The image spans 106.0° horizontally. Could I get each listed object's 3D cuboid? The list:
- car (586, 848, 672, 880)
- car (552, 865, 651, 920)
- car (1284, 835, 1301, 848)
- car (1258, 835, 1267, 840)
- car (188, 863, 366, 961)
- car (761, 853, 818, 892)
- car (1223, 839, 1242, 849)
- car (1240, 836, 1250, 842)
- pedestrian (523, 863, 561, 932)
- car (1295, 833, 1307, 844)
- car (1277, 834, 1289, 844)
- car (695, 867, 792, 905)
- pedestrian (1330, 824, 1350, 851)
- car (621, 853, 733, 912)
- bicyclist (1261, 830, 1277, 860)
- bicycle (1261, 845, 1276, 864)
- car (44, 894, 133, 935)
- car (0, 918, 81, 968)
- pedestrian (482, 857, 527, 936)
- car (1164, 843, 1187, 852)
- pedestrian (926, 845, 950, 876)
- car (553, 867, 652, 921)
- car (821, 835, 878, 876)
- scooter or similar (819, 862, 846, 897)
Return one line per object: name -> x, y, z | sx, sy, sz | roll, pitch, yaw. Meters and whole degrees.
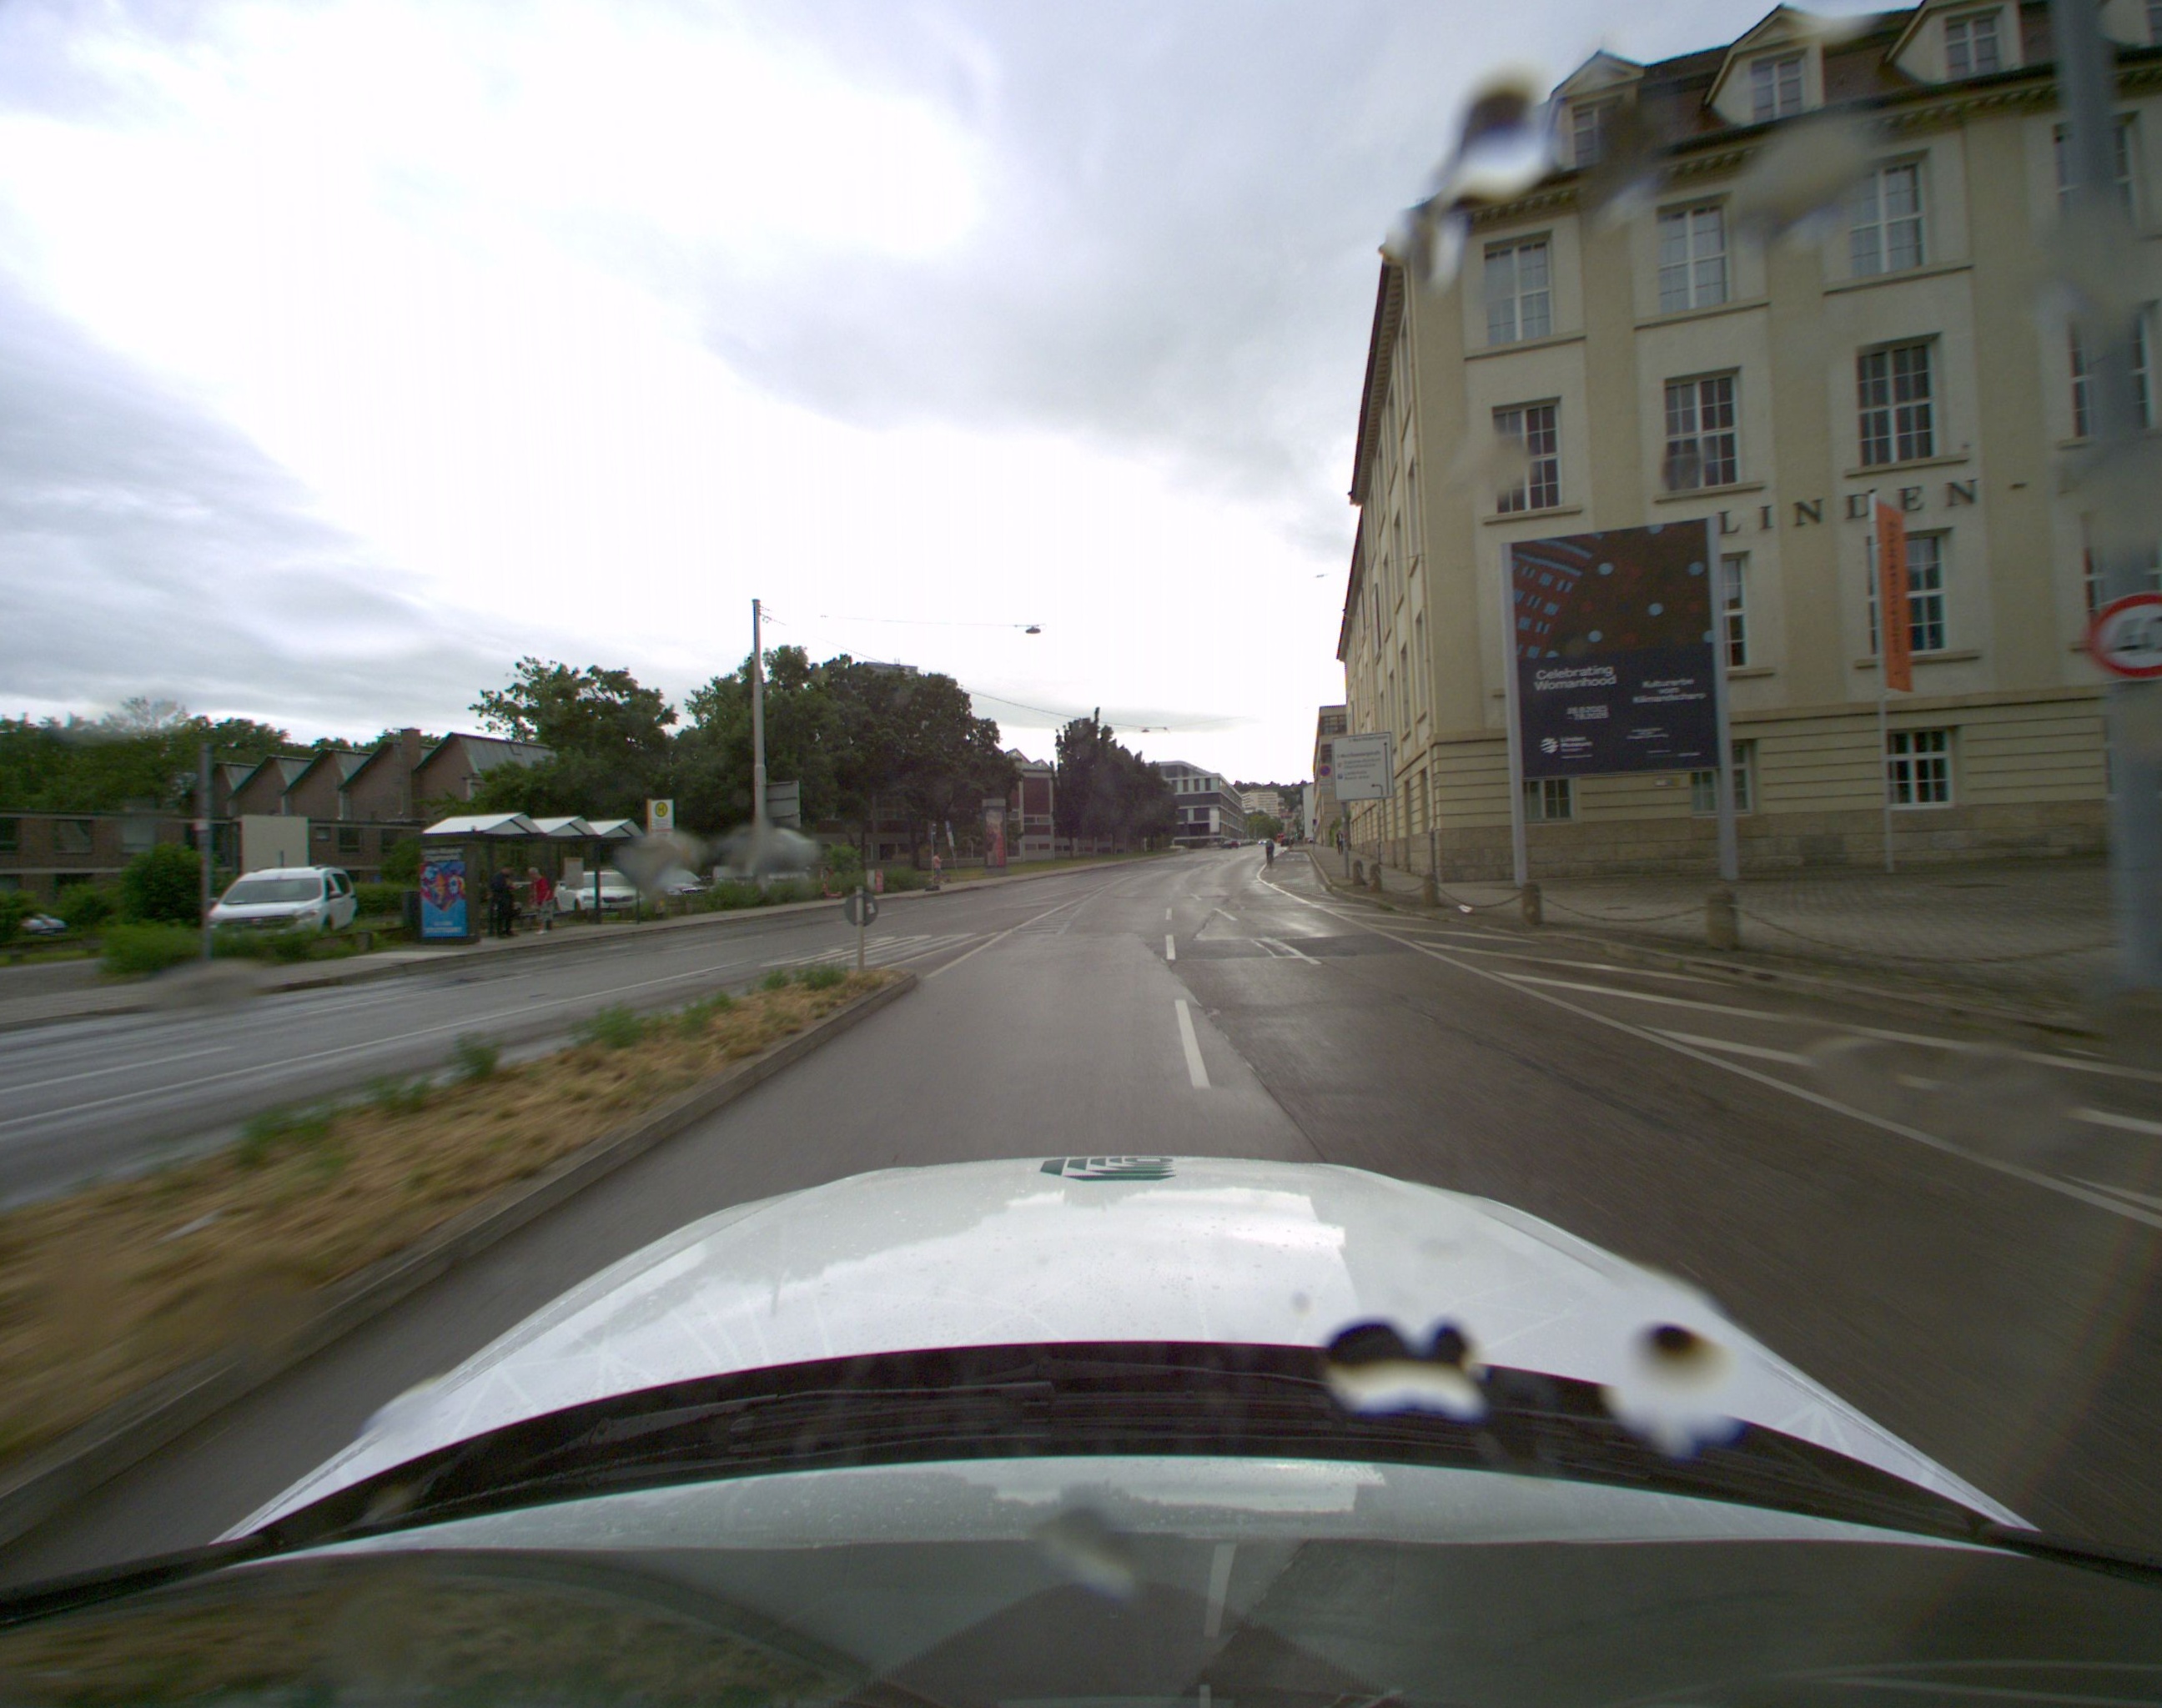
car -> -43.091, 0.902, 77.914 | 3.559, 2.817, 6.494 | -1, 1, 16
car -> -14.613, 1.105, 24.724 | 1.844, 1.415, 3.952 | -2, 1, -41
car -> 28.631, -1.685, 110.107 | 1.824, 1.559, 4.020 | -1, 3, 19
car -> 50.160, -4.559, 224.977 | 1.824, 1.353, 3.433 | -1, 3, 19
car -> -17.138, 1.149, 17.625 | 1.841, 1.768, 4.459 | -2, -1, -33
car -> -12.125, 0.696, 33.718 | 1.857, 1.442, 4.042 | -2, 1, -25
car -> 25.981, -1.728, 140.143 | 1.894, 1.625, 3.630 | -2, 3, -13
car -> 39.448, -3.623, 195.573 | 1.824, 1.235, 3.433 | -1, 3, 19
pedestrian -> -12.844, 1.027, 19.417 | 0.613, 1.594, 0.505 | -2, 1, -21
car -> 34.779, -2.491, 128.692 | 1.825, 1.559, 4.018 | -1, 3, 16
car -> 37.087, -2.794, 149.568 | 1.825, 1.559, 4.018 | -1, 3, 16
car -> -12.342, 1.133, 29.751 | 3.455, 1.219, 1.845 | 0, 1, 39
pedestrian -> 18.930, -1.210, 59.464 | 1.230, 1.788, 1.603 | -4, 0, 18
car -> -13.457, 0.898, 27.048 | 3.949, 1.768, 1.846 | 0, 1, 39
bicyclist -> 10.541, -0.504, 45.639 | 0.694, 1.632, 1.134 | -1, 1, 20
bicycle -> 10.536, 0.014, 45.647 | 0.641, 1.056, 1.829 | -2, 0, 17
car -> -55.159, 3.337, 45.247 | 3.952, 2.013, 2.011 | -1, 1, 23
car -> -52.026, 4.282, 39.700 | 5.023, 2.074, 2.299 | -1, 1, 17
pedestrian -> -13.119, 0.962, 18.546 | 0.454, 1.744, 0.667 | -1, 1, 5
car -> 22.829, -1.628, 195.881 | 5.189, 2.013, 2.008 | -1, 1, 14
pedestrian -> -7.383, 0.342, 42.104 | 0.797, 1.570, 0.962 | -1, 1, 25
car -> -14.585, 1.192, 24.739 | 1.864, 1.442, 4.026 | -2, -1, -41
car -> -10.872, 0.102, 38.507 | 1.846, 1.742, 4.066 | -3, -1, -6
scooter or similar -> -9.481, 0.967, 31.046 | 0.454, 1.266, 0.982 | -1, 1, 20
